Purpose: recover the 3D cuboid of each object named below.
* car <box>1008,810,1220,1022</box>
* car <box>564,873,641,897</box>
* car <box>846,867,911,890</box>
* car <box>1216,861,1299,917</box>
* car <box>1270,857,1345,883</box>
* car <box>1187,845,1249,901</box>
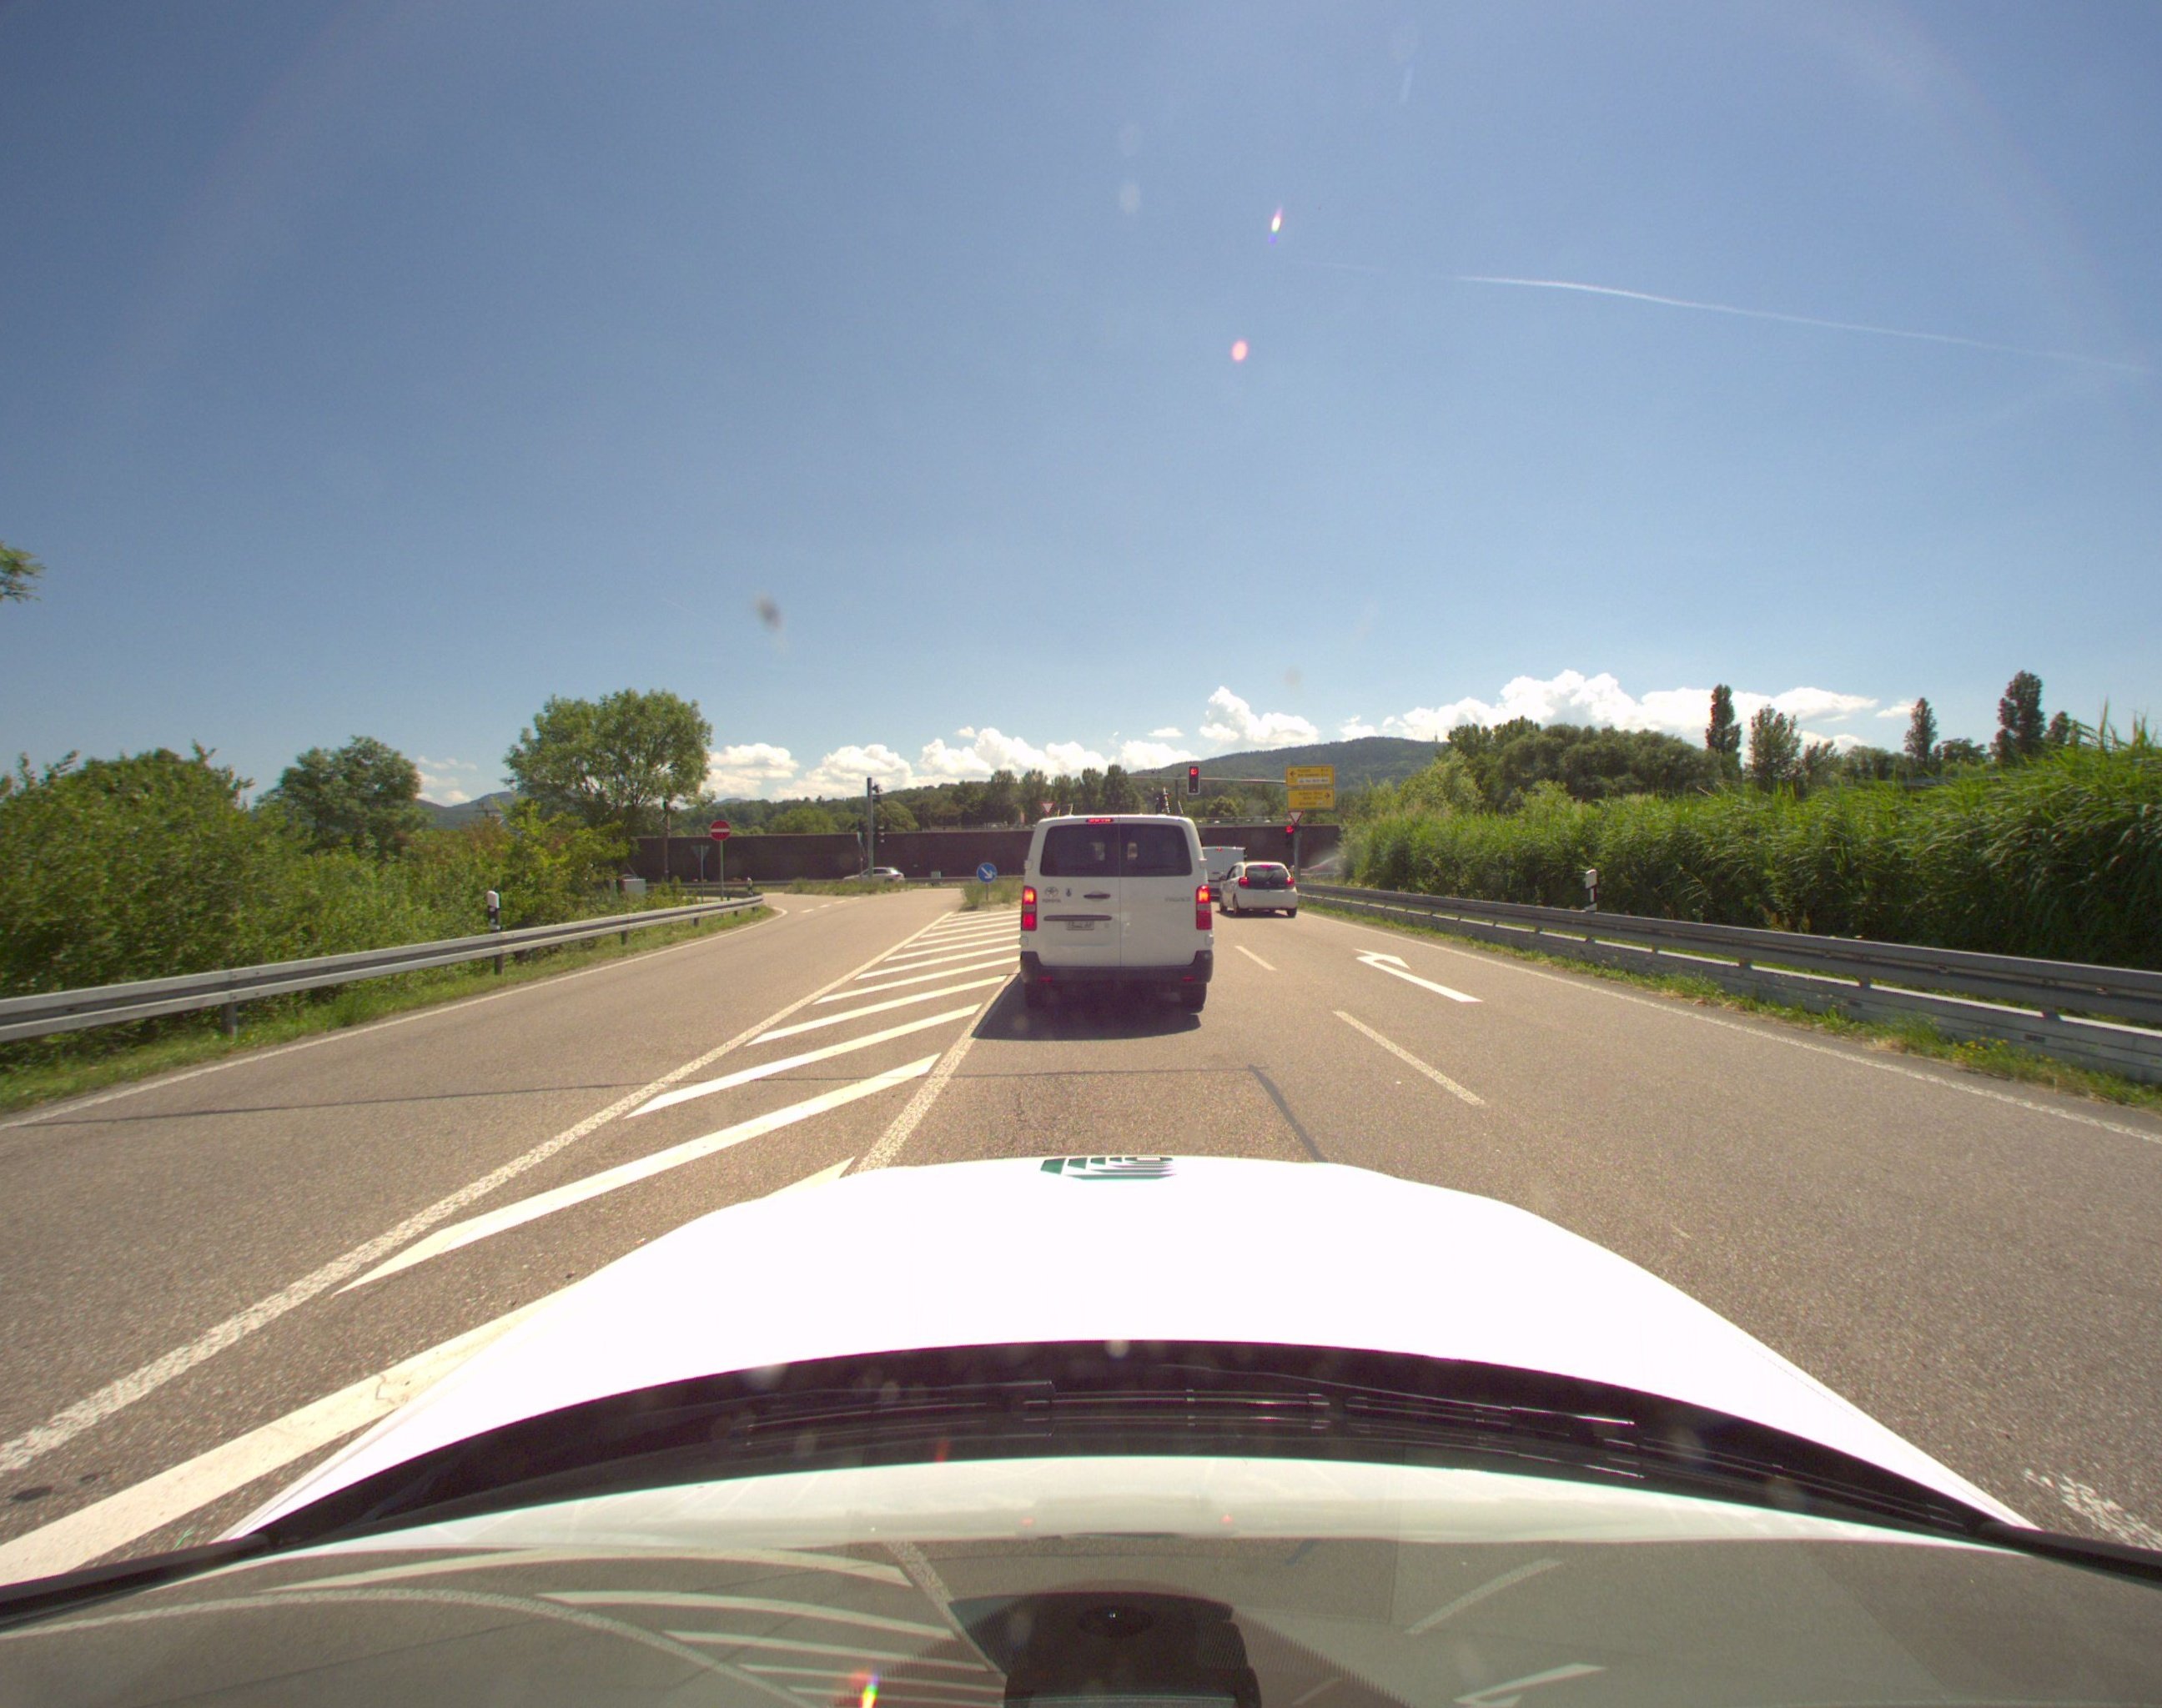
[{"bbox_3d":[0.354,0.580,9.280,1.880,1.886,4.001,0,-1,2],"label":"car"},{"bbox_3d":[-32.297,2.072,55.013,3.978,1.485,1.998,0,-1,-3],"label":"car"},{"bbox_3d":[-13.827,1.664,55.827,3.976,1.485,1.999,0,-1,-2],"label":"car"},{"bbox_3d":[4.789,0.915,22.523,1.650,1.431,3.366,0,-1,2],"label":"car"},{"bbox_3d":[14.716,1.033,53.054,4.297,1.656,1.999,-1,-1,-1],"label":"car"},{"bbox_3d":[5.230,0.698,31.709,1.920,2.000,4.842,0,-1,4],"label":"car"}]
